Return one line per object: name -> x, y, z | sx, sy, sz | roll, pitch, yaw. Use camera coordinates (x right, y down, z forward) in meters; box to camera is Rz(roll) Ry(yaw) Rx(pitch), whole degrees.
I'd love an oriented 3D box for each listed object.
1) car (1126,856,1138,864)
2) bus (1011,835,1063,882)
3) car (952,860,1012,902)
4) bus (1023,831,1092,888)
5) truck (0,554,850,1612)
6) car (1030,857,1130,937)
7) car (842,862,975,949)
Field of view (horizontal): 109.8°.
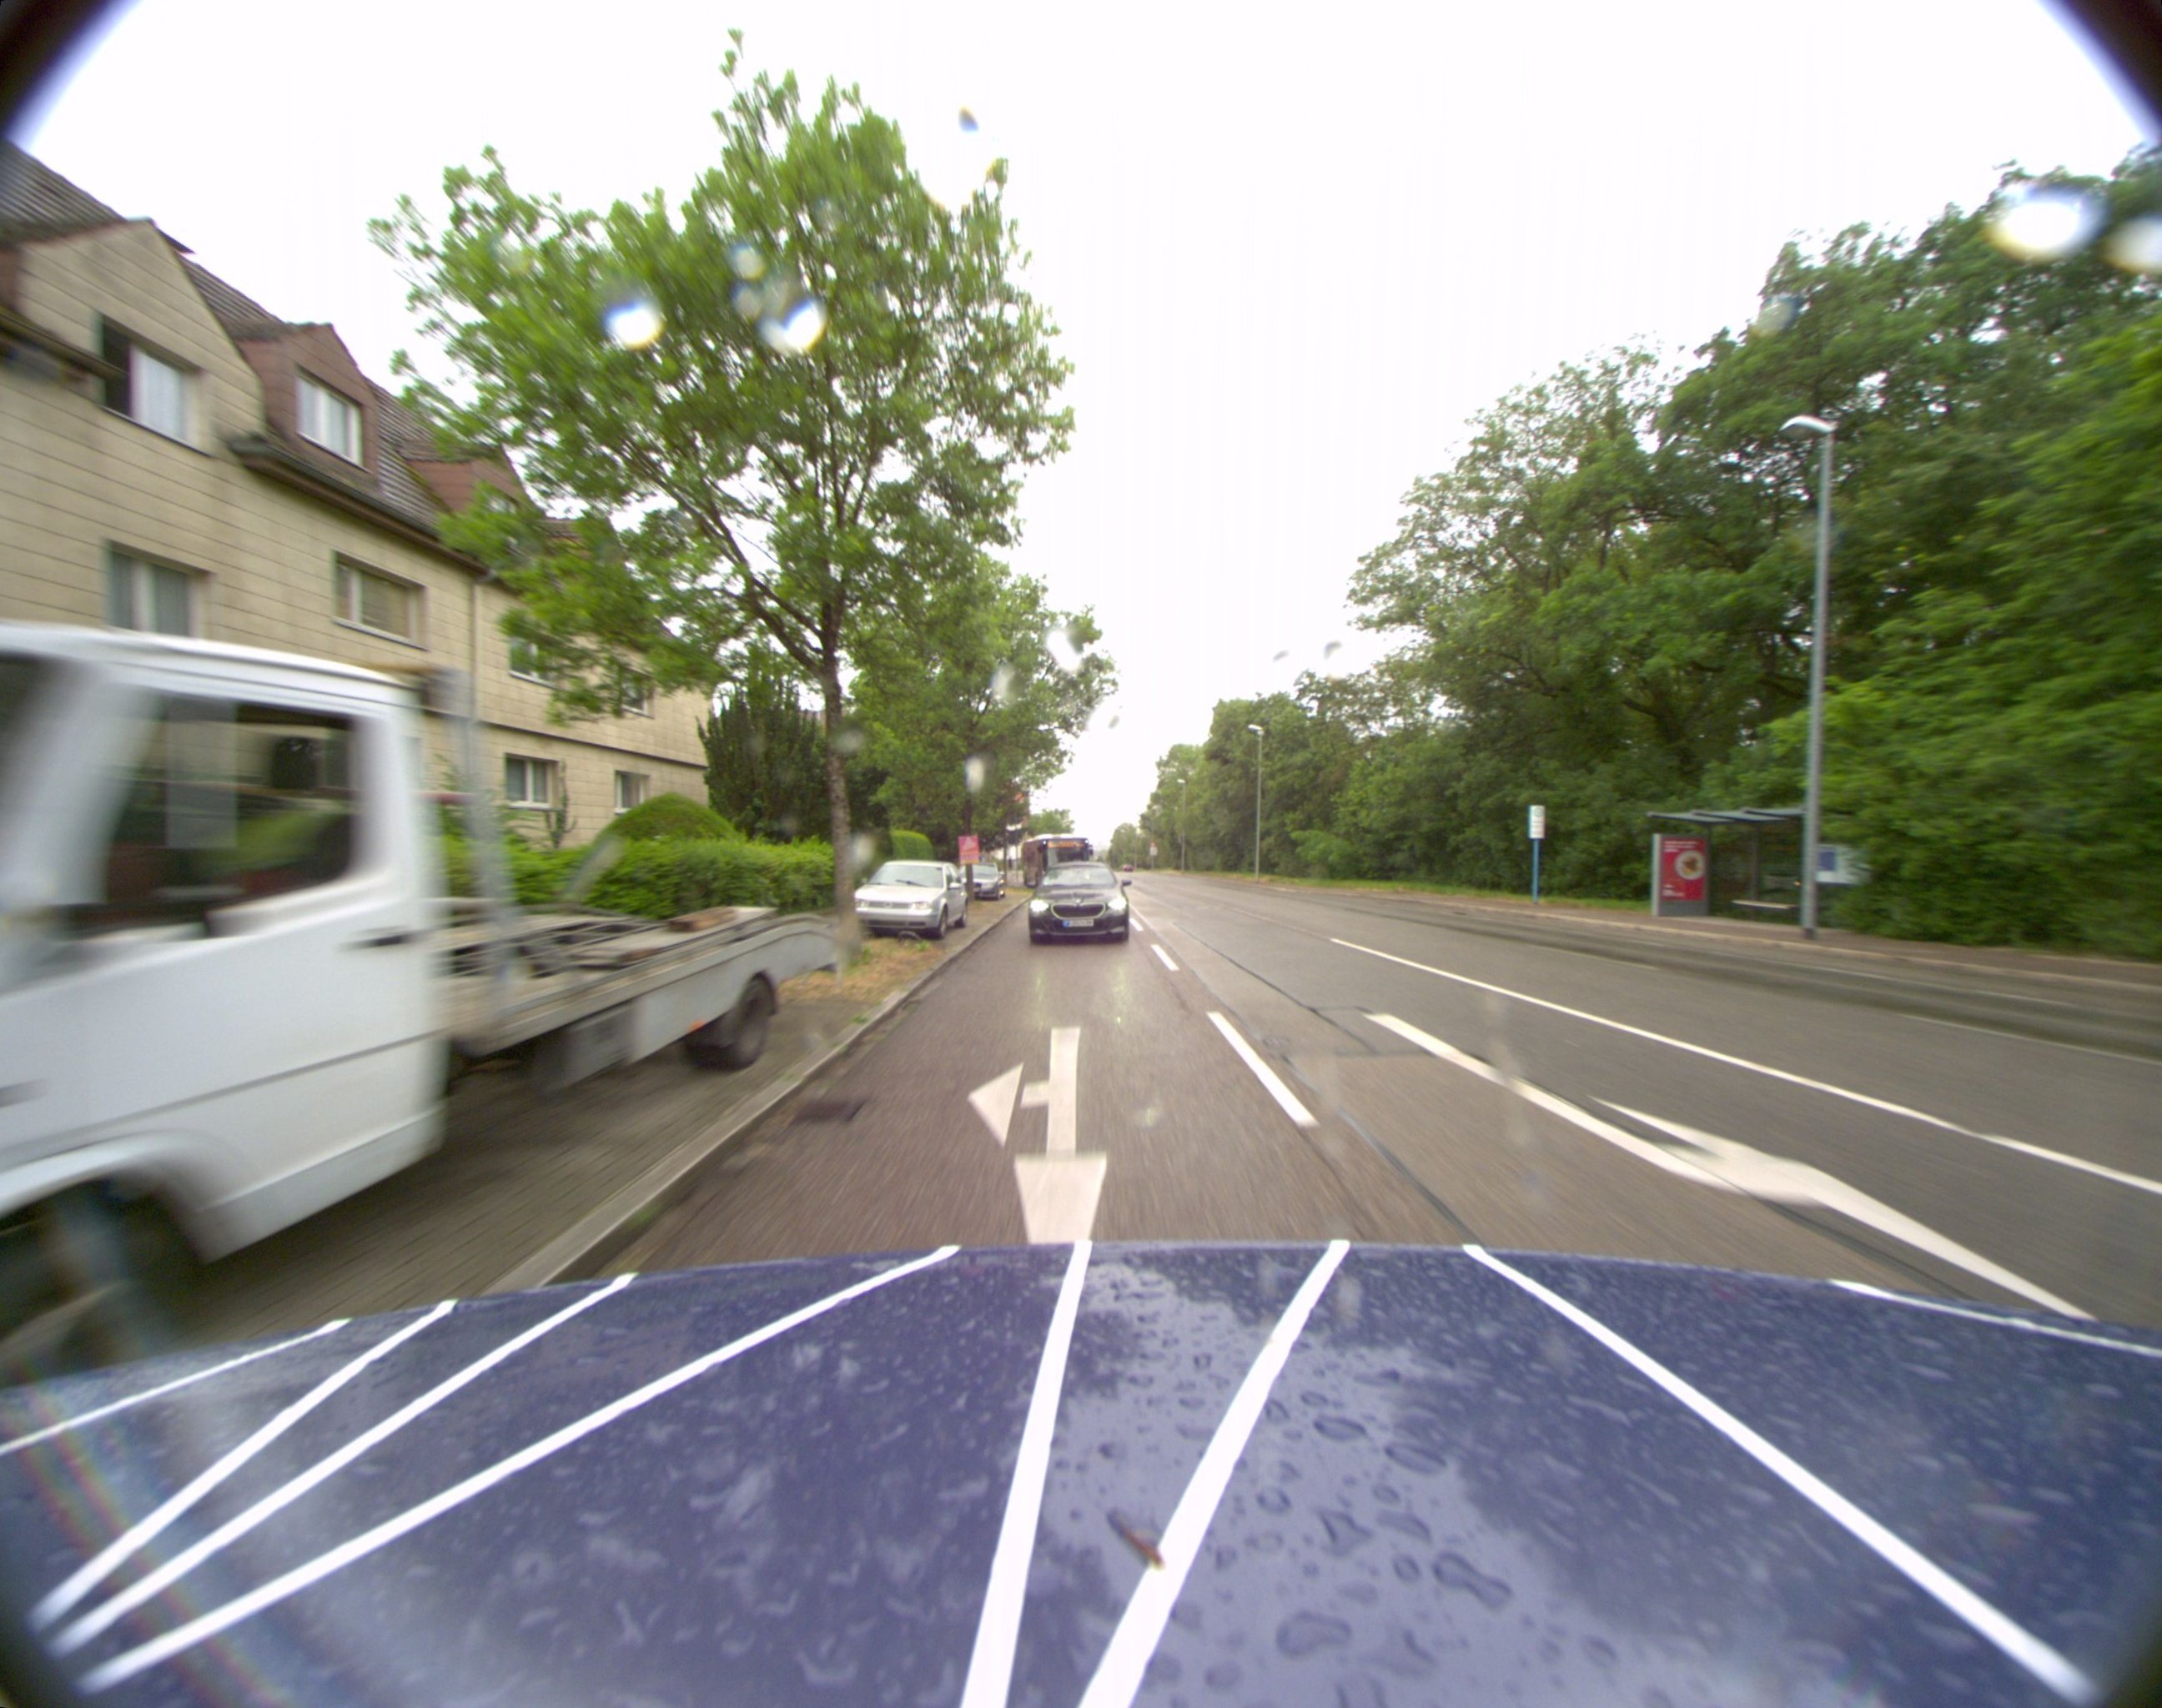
car -> 9.235, 1.025, 138.840 | 1.748, 1.423, 4.388 | 2, 0, -1
bus -> -3.201, 0.309, 52.650 | 2.564, 2.942, 8.549 | -1, 0, -10
car -> -3.661, 0.953, 28.768 | 1.692, 1.381, 4.499 | 2, 0, -1
bus -> -1.550, 0.286, 43.846 | 2.565, 2.942, 9.441 | -1, 0, -10
truck -> -3.300, 0.452, 4.114 | 2.085, 2.208, 6.501 | 3, 0, -1
car -> -0.108, 0.816, 16.529 | 1.856, 1.461, 4.482 | -1, 0, -3
car -> -3.247, 0.919, 15.083 | 1.605, 1.428, 4.022 | 3, -1, 1
